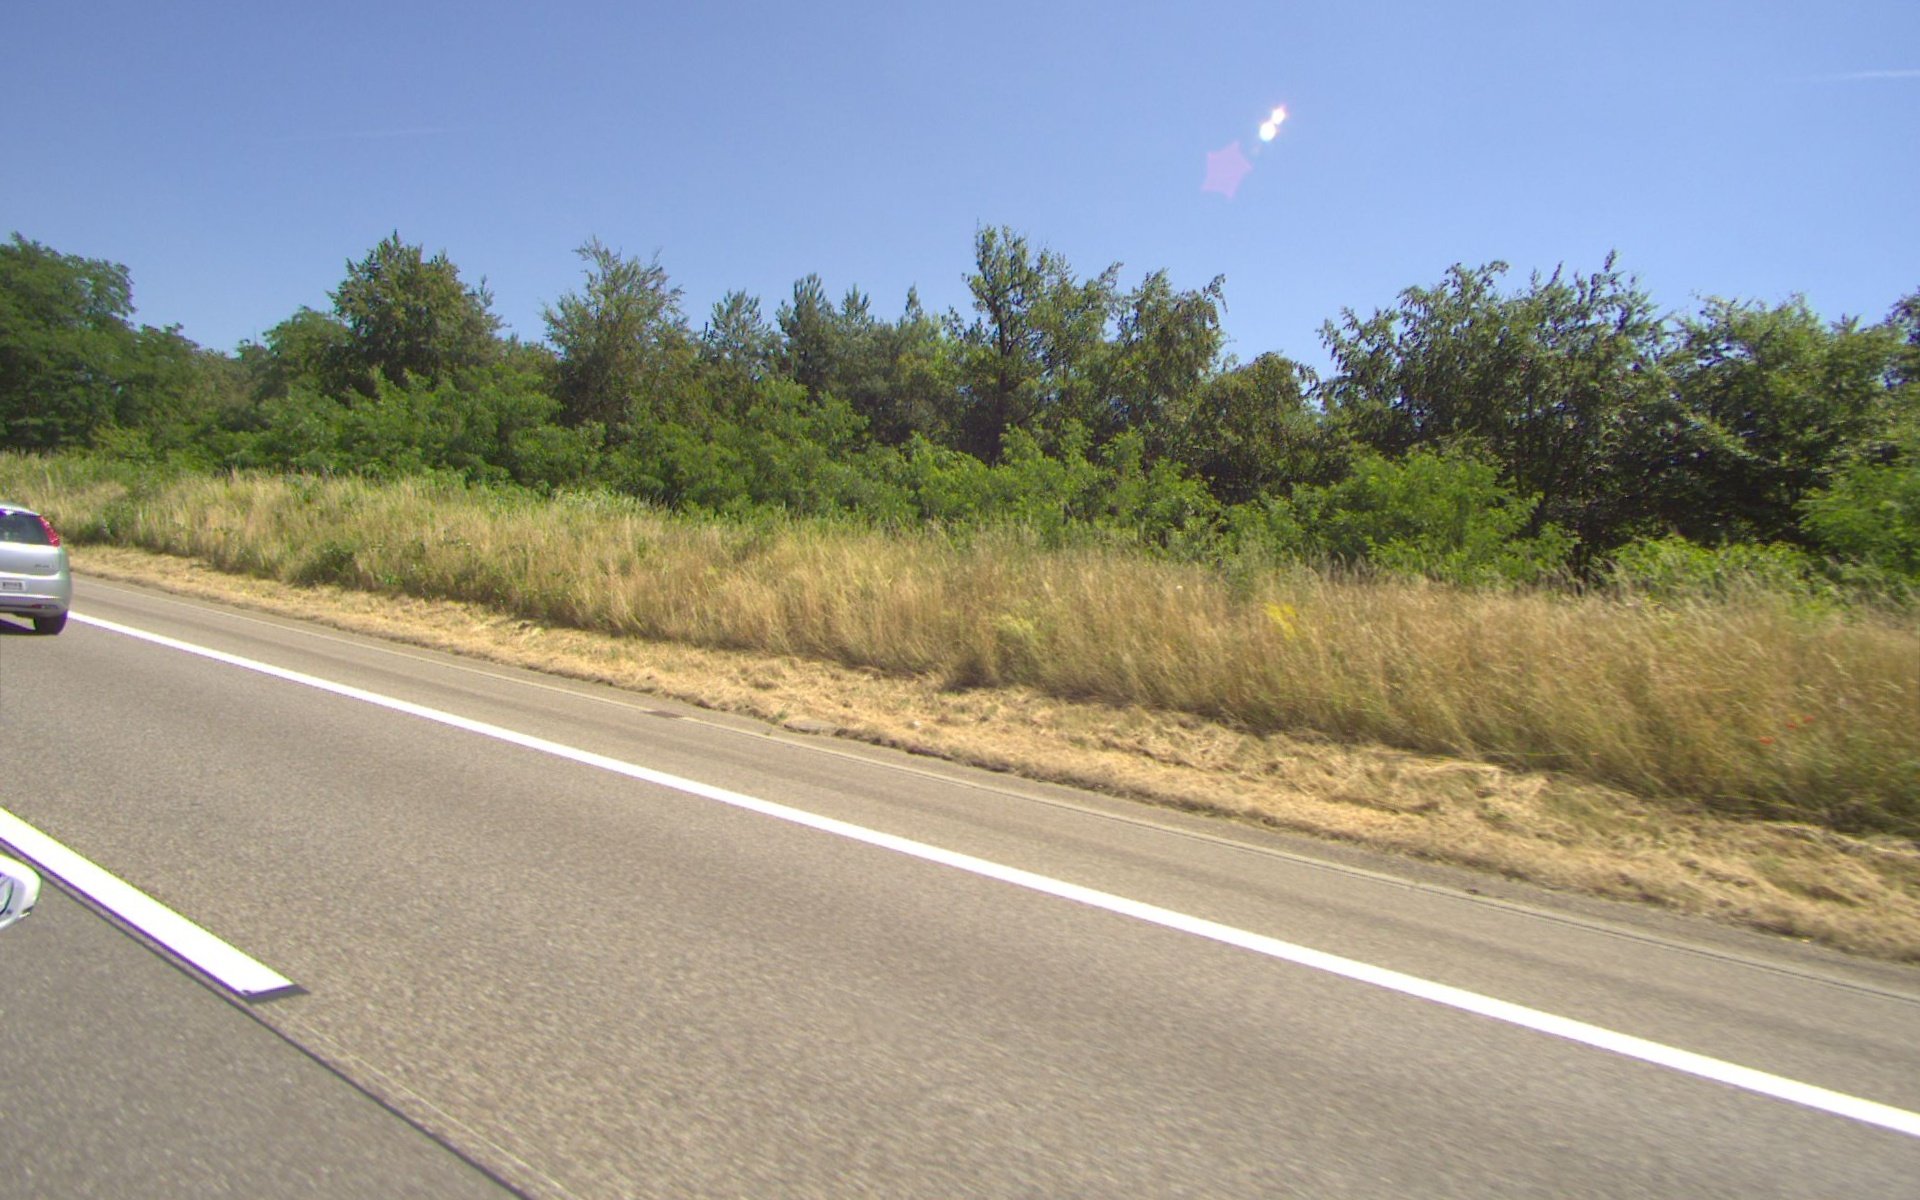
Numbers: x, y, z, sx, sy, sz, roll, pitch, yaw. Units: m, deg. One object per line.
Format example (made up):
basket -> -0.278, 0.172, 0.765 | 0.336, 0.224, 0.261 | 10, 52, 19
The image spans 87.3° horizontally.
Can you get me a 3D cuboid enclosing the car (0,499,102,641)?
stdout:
car -> -12.081, -0.526, 11.903 | 3.915, 1.483, 1.748 | 6, -2, 32
